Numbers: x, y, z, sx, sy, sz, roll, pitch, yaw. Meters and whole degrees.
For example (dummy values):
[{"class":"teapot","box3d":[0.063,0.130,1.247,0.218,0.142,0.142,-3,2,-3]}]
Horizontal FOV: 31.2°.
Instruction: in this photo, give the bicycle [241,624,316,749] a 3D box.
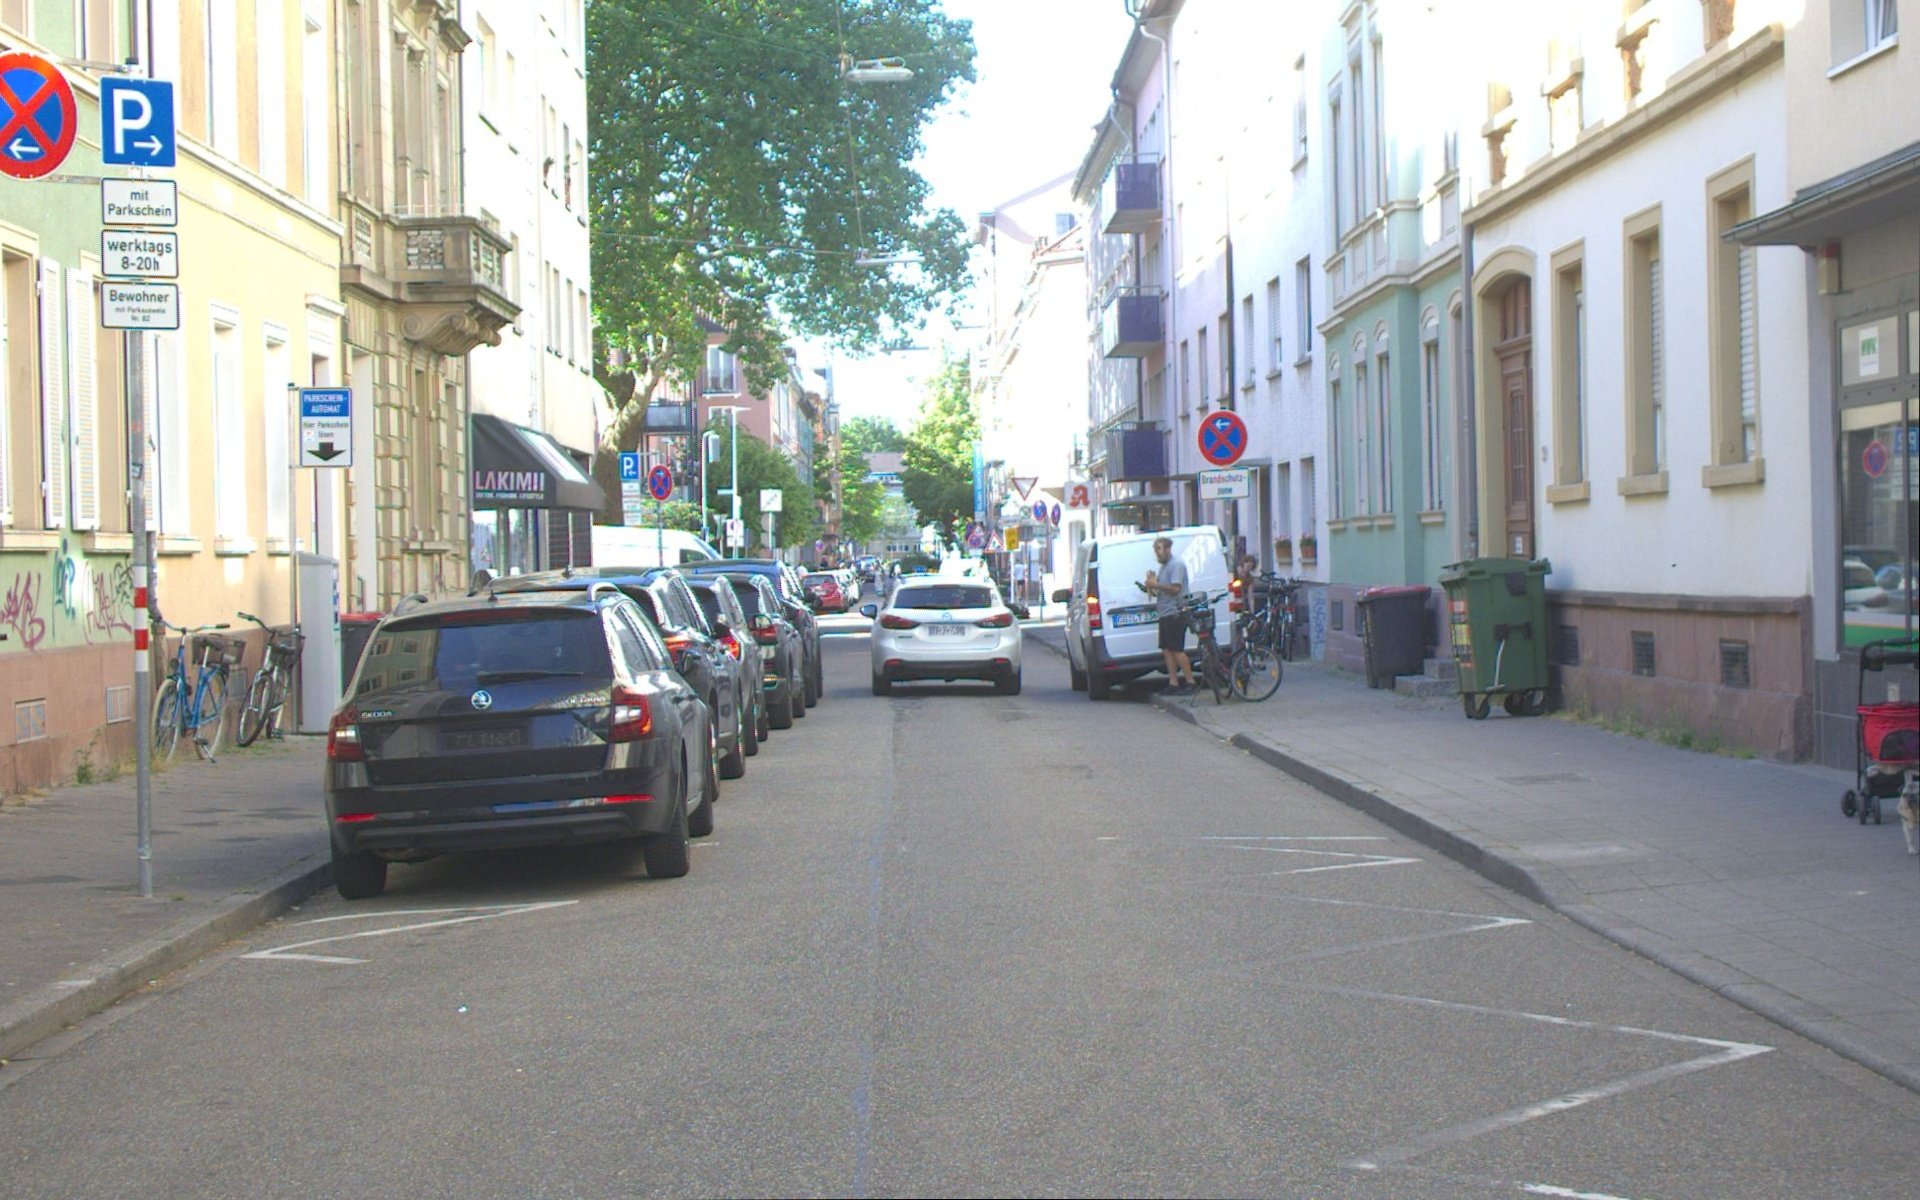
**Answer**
[{"class":"bicycle","box3d":[-6.015,0.747,30.383,0.402,1.052,1.837,-1,0,-4]}]

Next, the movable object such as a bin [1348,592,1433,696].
[{"class":"movable object such as a bin","box3d":[4.581,0.463,36.599,0.812,1.084,0.673,-1,0,1]}]

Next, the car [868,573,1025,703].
[{"class":"car","box3d":[-0.209,0.435,42.571,1.823,1.509,3.824,-1,0,-2]}]

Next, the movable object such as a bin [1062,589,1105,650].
[{"class":"movable object such as a bin","box3d":[2.215,0.351,61.648,0.732,1.077,0.703,-1,0,0]}]

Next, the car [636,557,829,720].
[{"class":"car","box3d":[-2.597,0.401,40.336,1.936,1.730,5.142,-2,0,-1]}]

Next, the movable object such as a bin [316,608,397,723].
[{"class":"movable object such as a bin","box3d":[-6.024,0.650,34.332,0.719,1.128,0.585,-1,0,-4]}]

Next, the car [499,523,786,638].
[{"class":"car","box3d":[-7.749,-0.477,84.373,6.739,2.546,2.145,2,0,1]}]

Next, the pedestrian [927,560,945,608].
[{"class":"pedestrian","box3d":[-1.080,-0.714,154.391,0.771,2.111,0.834,-1,0,0]}]

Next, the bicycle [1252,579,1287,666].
[{"class":"bicycle","box3d":[4.392,0.313,48.763,0.438,1.202,2.265,-1,0,6]}]

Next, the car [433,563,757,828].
[{"class":"car","box3d":[-2.467,0.586,24.255,1.744,1.609,4.603,-2,1,0]}]

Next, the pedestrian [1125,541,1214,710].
[{"class":"pedestrian","box3d":[2.311,0.278,38.071,0.866,1.830,0.883,-1,0,-2]}]

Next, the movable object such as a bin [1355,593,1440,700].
[{"class":"movable object such as a bin","box3d":[4.568,0.480,35.928,0.797,1.092,0.642,-1,0,1]}]

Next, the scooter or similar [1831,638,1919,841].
[{"class":"scooter or similar","box3d":[4.673,0.682,17.143,0.490,0.941,0.868,-2,1,6]}]

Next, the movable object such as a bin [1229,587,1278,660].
[{"class":"movable object such as a bin","box3d":[4.414,0.356,51.730,0.616,1.059,0.603,-3,0,-1]}]

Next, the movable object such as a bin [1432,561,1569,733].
[{"class":"movable object such as a bin","box3d":[4.600,0.408,29.333,0.837,1.385,1.297,-3,-1,-2]}]

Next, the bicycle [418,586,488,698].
[{"class":"bicycle","box3d":[-5.935,0.487,40.330,0.510,1.272,1.867,-1,0,1]}]

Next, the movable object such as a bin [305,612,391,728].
[{"class":"movable object such as a bin","box3d":[-5.997,0.679,33.712,0.735,1.085,0.683,-1,2,-4]}]

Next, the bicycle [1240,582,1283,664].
[{"class":"bicycle","box3d":[4.364,0.326,49.852,0.568,1.149,1.868,-1,0,4]}]

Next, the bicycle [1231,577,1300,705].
[{"class":"bicycle","box3d":[3.193,0.412,36.065,0.575,1.267,2.199,-3,0,3]}]

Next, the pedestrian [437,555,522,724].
[{"class":"pedestrian","box3d":[-4.939,0.398,35.374,0.764,1.708,0.883,0,1,-1]}]

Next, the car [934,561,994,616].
[{"class":"car","box3d":[0.126,-0.419,124.407,1.942,1.941,4.079,0,0,-3]}]

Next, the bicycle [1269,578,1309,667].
[{"class":"bicycle","box3d":[4.533,0.306,47.428,0.405,1.202,2.159,-1,0,2]}]

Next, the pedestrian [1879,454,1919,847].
[{"class":"pedestrian","box3d":[4.871,0.223,16.177,0.648,1.853,0.749,-4,1,-22]}]

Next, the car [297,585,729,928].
[{"class":"car","box3d":[-2.239,0.714,18.397,1.713,1.483,4.852,-4,0,-1]}]

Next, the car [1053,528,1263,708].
[{"class":"car","box3d":[2.317,0.171,41.698,1.983,1.877,5.600,-5,1,-1]}]

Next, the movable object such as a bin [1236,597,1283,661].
[{"class":"movable object such as a bin","box3d":[4.449,0.428,51.121,0.577,0.921,0.607,-3,0,-1]}]

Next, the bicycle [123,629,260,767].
[{"class":"bicycle","box3d":[-6.024,0.754,27.033,0.361,1.025,1.916,-1,0,9]}]

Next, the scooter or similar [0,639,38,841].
[{"class":"scooter or similar","box3d":[-5.867,0.826,20.039,0.454,1.177,1.691,-1,0,2]}]

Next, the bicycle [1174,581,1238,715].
[{"class":"bicycle","box3d":[2.547,0.478,35.738,0.575,1.316,2.199,-2,1,3]}]

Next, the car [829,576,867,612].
[{"class":"car","box3d":[-4.991,-0.256,153.377,1.572,1.580,3.611,-1,0,0]}]

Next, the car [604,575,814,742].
[{"class":"car","box3d":[-2.473,0.538,34.818,1.713,1.526,4.367,-2,0,1]}]

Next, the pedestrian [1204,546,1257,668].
[{"class":"pedestrian","box3d":[3.838,0.097,48.811,0.655,1.705,0.686,-1,0,10]}]

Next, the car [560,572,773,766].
[{"class":"car","box3d":[-2.504,0.545,30.050,1.615,1.548,3.978,-1,1,-2]}]

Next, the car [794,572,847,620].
[{"class":"car","box3d":[-4.894,-0.158,121.156,1.769,1.583,3.726,-1,1,-1]}]
